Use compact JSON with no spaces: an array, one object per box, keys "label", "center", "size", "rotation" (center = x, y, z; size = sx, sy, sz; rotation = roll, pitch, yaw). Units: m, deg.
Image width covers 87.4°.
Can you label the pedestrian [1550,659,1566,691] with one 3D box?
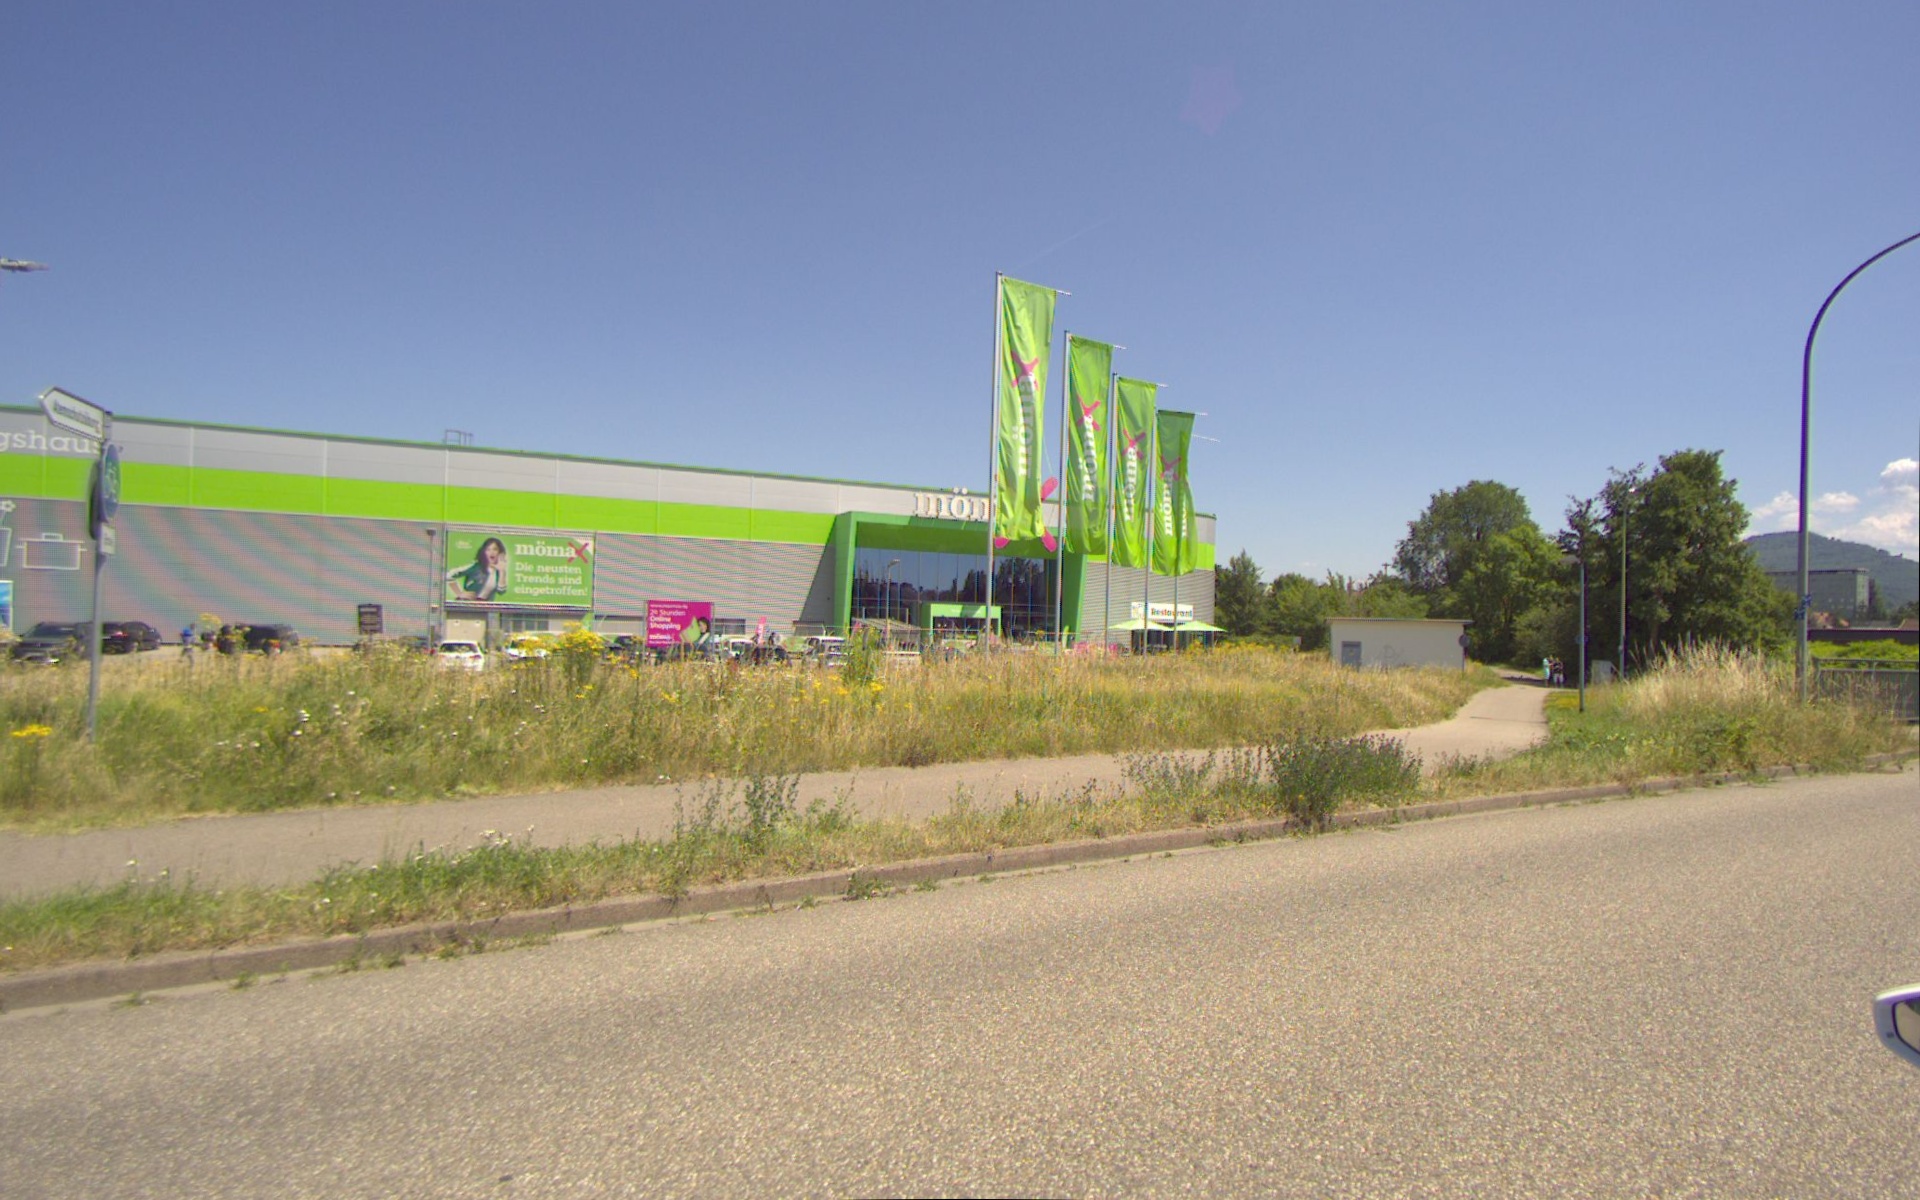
[{"label":"pedestrian","center":[33.000,4.147,55.418],"size":[0.619,1.696,0.596],"rotation":[4,0,38]}]

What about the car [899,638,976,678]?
[{"label":"car","center":[-1.060,2.607,45.792],"size":[1.974,1.533,3.972],"rotation":[2,1,-27]}]

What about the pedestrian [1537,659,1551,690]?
[{"label":"pedestrian","center":[32.313,4.126,55.579],"size":[0.507,1.696,0.626],"rotation":[4,0,37]}]

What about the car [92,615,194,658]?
[{"label":"car","center":[-38.432,1.680,47.406],"size":[1.964,1.795,3.993],"rotation":[2,0,-9]}]

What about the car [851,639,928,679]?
[{"label":"car","center":[-3.180,2.582,44.632],"size":[1.974,1.435,3.972],"rotation":[2,1,-27]}]

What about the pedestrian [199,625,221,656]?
[{"label":"pedestrian","center":[-36.627,1.984,49.044],"size":[0.757,1.471,0.634],"rotation":[1,1,-30]}]

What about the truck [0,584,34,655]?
[{"label":"truck","center":[-38.577,0.717,36.030],"size":[2.902,2.720,7.782],"rotation":[1,0,7]}]

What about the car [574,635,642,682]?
[{"label":"car","center":[-13.879,2.245,39.478],"size":[1.974,1.533,3.972],"rotation":[2,1,-27]}]

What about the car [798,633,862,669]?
[{"label":"car","center":[-6.562,2.534,50.398],"size":[1.974,1.533,3.972],"rotation":[2,1,-27]}]

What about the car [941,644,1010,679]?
[{"label":"car","center":[0.765,3.164,52.171],"size":[1.974,1.533,3.972],"rotation":[2,1,-27]}]

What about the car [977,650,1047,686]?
[{"label":"car","center":[2.723,3.578,53.413],"size":[1.974,1.533,3.972],"rotation":[2,1,-27]}]

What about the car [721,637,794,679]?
[{"label":"car","center":[-8.555,2.401,42.181],"size":[1.974,1.463,3.972],"rotation":[2,1,-27]}]

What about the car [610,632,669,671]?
[{"label":"car","center":[-14.874,2.343,46.508],"size":[1.974,1.533,3.972],"rotation":[2,1,-27]}]

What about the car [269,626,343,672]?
[{"label":"car","center":[-25.678,1.887,39.549],"size":[1.974,1.533,3.972],"rotation":[2,1,-27]}]

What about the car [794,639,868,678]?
[{"label":"car","center":[-5.708,2.518,43.921],"size":[1.974,1.428,3.972],"rotation":[2,1,-27]}]

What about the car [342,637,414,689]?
[{"label":"car","center":[-20.695,2.195,35.863],"size":[1.974,1.533,3.972],"rotation":[2,1,-27]}]

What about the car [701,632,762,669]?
[{"label":"car","center":[-11.195,2.421,48.942],"size":[1.974,1.533,3.972],"rotation":[2,1,-27]}]

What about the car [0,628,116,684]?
[{"label":"car","center":[-34.023,2.055,37.966],"size":[1.971,1.785,4.249],"rotation":[1,1,-22]}]

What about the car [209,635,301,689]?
[{"label":"car","center":[-23.811,2.048,34.075],"size":[1.974,1.486,3.972],"rotation":[2,1,-27]}]

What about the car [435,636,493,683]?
[{"label":"car","center":[-18.489,2.174,37.443],"size":[1.823,1.456,3.972],"rotation":[2,1,-27]}]

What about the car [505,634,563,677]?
[{"label":"car","center":[-18.036,2.309,42.430],"size":[1.974,1.533,3.972],"rotation":[2,1,-27]}]

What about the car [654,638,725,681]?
[{"label":"car","center":[-10.992,2.359,40.592],"size":[1.974,1.449,3.972],"rotation":[2,1,-27]}]
